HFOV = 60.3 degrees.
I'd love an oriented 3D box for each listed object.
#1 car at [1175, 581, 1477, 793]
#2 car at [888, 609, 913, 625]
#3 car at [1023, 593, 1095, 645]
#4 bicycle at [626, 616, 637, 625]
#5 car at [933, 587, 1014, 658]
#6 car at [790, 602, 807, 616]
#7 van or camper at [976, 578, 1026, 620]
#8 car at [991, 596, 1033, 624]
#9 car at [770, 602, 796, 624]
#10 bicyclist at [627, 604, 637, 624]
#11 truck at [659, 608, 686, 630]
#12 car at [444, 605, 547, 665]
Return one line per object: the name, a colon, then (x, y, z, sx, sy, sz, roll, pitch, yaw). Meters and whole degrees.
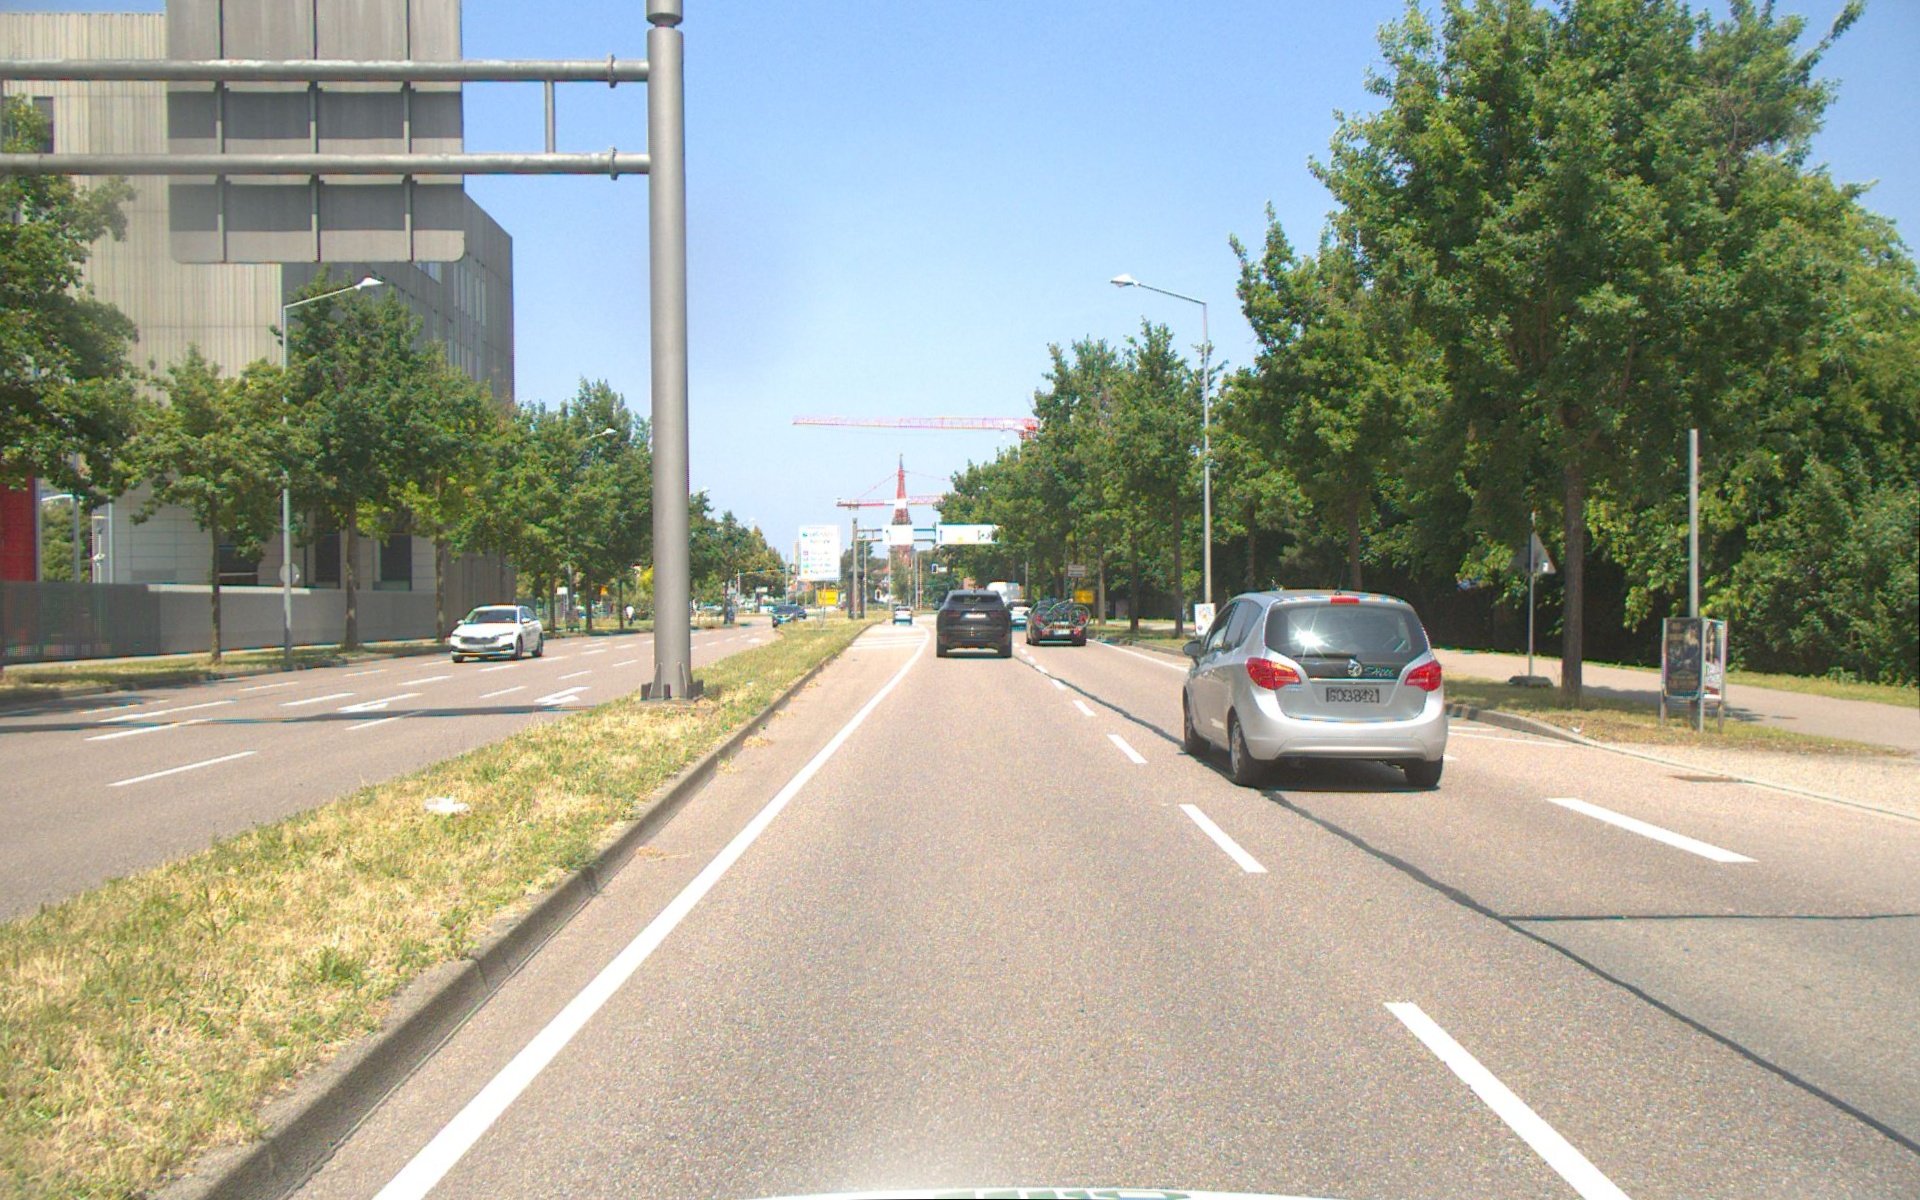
car: (3.097, 0.675, 14.786, 1.756, 1.640, 3.890, 0, 0, -1)
car: (-5.322, 1.493, 147.365, 1.955, 1.344, 3.995, 0, 0, -6)
car: (3.099, 0.589, 52.523, 1.973, 1.544, 4.460, -1, 0, 0)
bicycle: (-25.382, 1.597, 127.860, 0.471, 0.728, 1.850, -1, -1, 1)
car: (0.302, 0.546, 42.127, 1.957, 1.719, 4.033, 0, 0, -1)
car: (-19.406, 1.108, 199.141, 1.855, 1.639, 4.530, 0, 0, -4)
van or camper: (2.350, -0.019, 96.064, 2.444, 2.331, 4.916, -1, 0, -4)
car: (2.596, 0.509, 83.089, 1.622, 1.380, 4.456, -1, 0, -4)
car: (-12.707, 0.931, 118.794, 1.674, 1.497, 3.938, -2, 0, -4)
bicyclist: (-25.393, 1.067, 127.932, 0.610, 1.515, 0.757, -1, -1, 1)
truck: (-35.845, 2.387, 206.224, 2.587, 2.622, 6.312, 1, -1, -4)
car: (-12.573, 0.913, 45.013, 1.775, 1.452, 4.355, -2, 0, -4)
